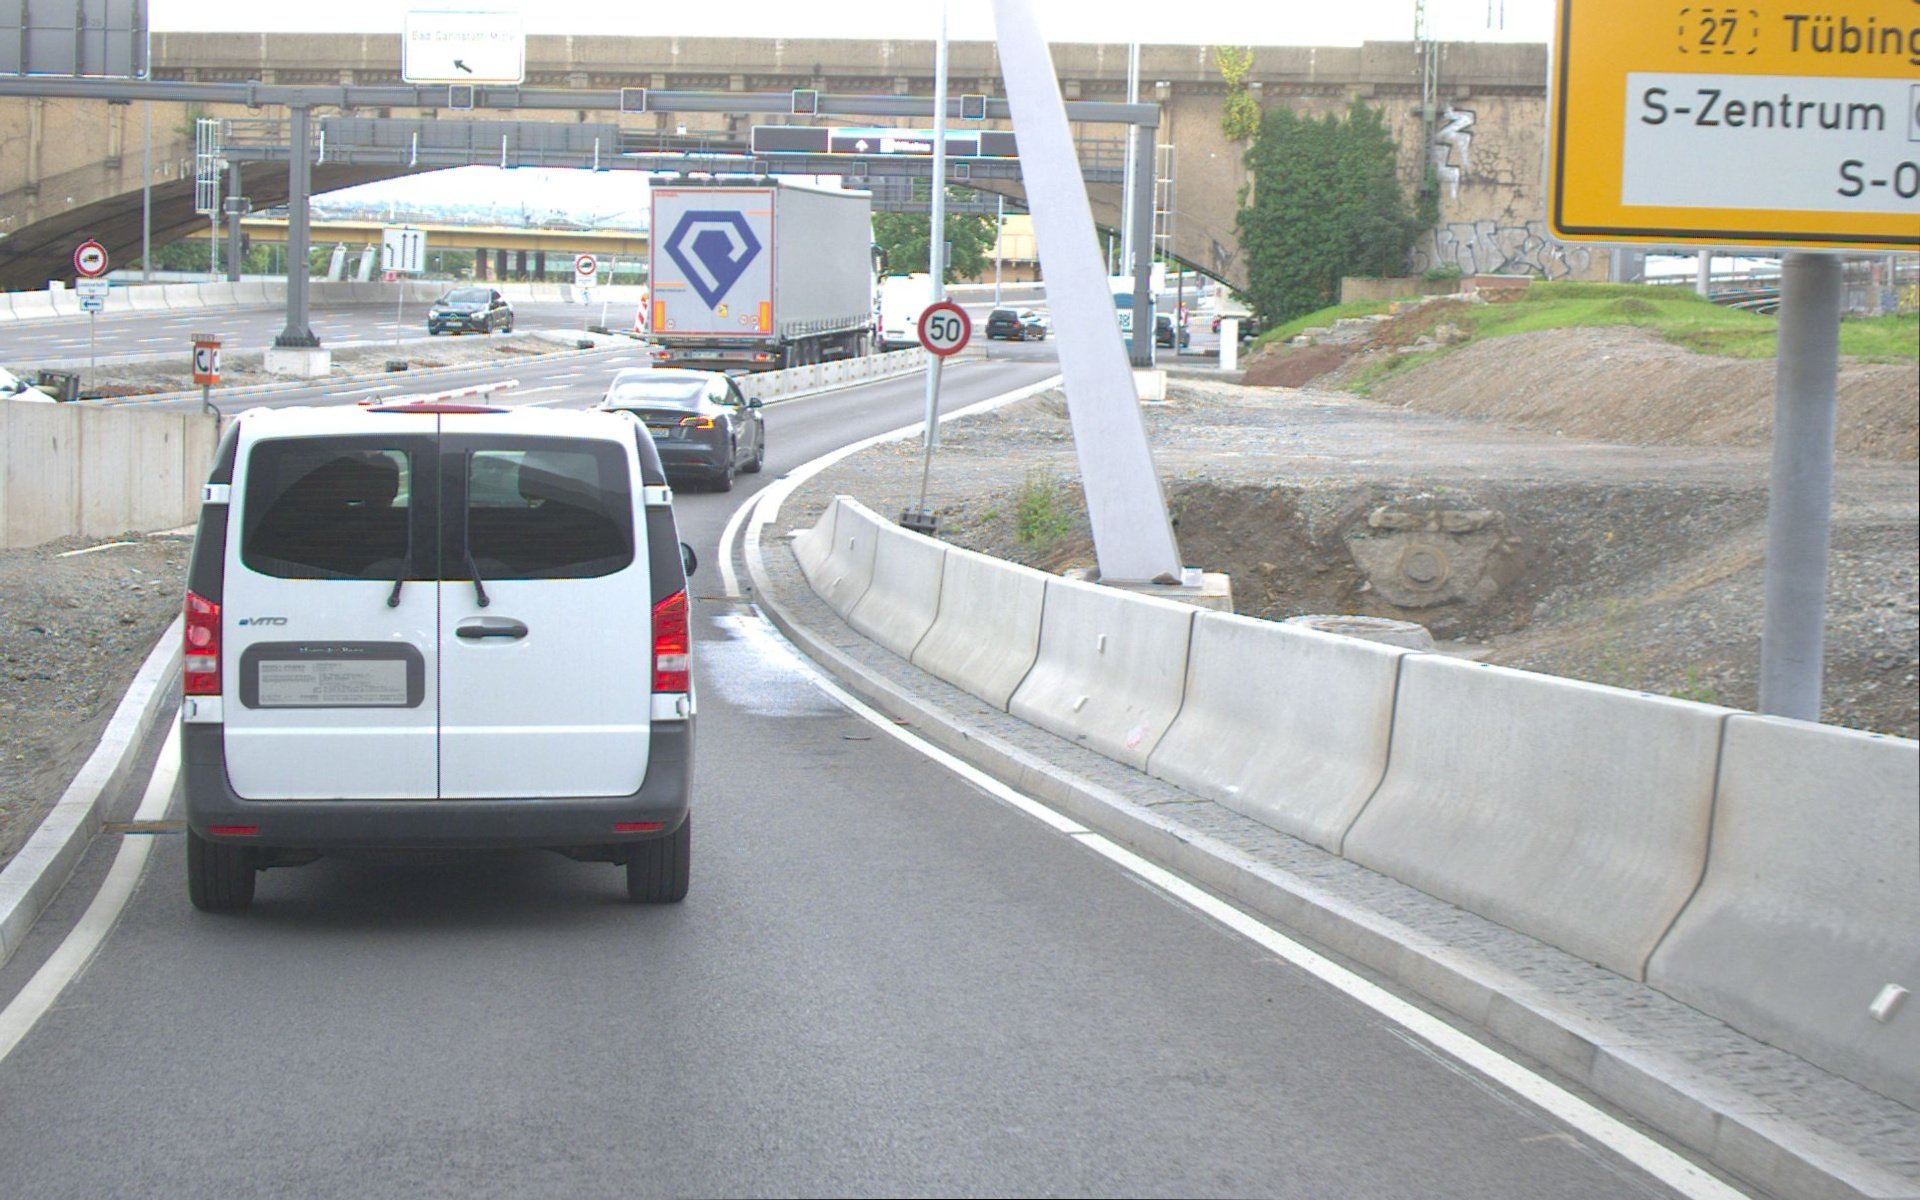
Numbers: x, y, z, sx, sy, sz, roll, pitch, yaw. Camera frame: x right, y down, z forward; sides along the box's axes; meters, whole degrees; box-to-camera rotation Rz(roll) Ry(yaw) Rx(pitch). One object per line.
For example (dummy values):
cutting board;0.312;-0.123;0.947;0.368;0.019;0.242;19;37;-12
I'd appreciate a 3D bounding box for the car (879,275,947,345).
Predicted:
car;-1.527;-9.544;113.444;1.898;2.108;4.486;3;3;2

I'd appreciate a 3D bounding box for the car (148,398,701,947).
car;-2.086;0.159;14.244;1.876;1.884;4.754;1;2;-6

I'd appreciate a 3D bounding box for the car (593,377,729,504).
car;-3.715;-2.015;43.095;1.501;1.464;3.400;2;3;-3

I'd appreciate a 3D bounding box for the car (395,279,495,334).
car;-15.478;-8.825;103.481;1.820;1.448;3.999;3;3;9

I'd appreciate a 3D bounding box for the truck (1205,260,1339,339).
truck;15.464;-14.856;170.132;3.401;3.137;7.242;7;4;32

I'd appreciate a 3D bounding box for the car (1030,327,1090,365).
car;4.477;-11.353;153.918;1.623;1.579;4.002;2;4;-13

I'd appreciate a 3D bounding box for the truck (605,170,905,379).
truck;-4.083;-7.017;74.181;3.318;3.795;16.594;4;6;7

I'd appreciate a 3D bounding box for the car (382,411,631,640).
car;-3.595;-0.664;27.793;1.749;1.619;3.846;3;3;-5

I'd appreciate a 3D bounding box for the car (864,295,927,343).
car;-2.445;-10.647;130.427;1.646;1.614;3.999;4;4;9

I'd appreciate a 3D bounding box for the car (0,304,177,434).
car;-11.691;-2.944;43.772;1.994;1.546;3.999;3;3;9
